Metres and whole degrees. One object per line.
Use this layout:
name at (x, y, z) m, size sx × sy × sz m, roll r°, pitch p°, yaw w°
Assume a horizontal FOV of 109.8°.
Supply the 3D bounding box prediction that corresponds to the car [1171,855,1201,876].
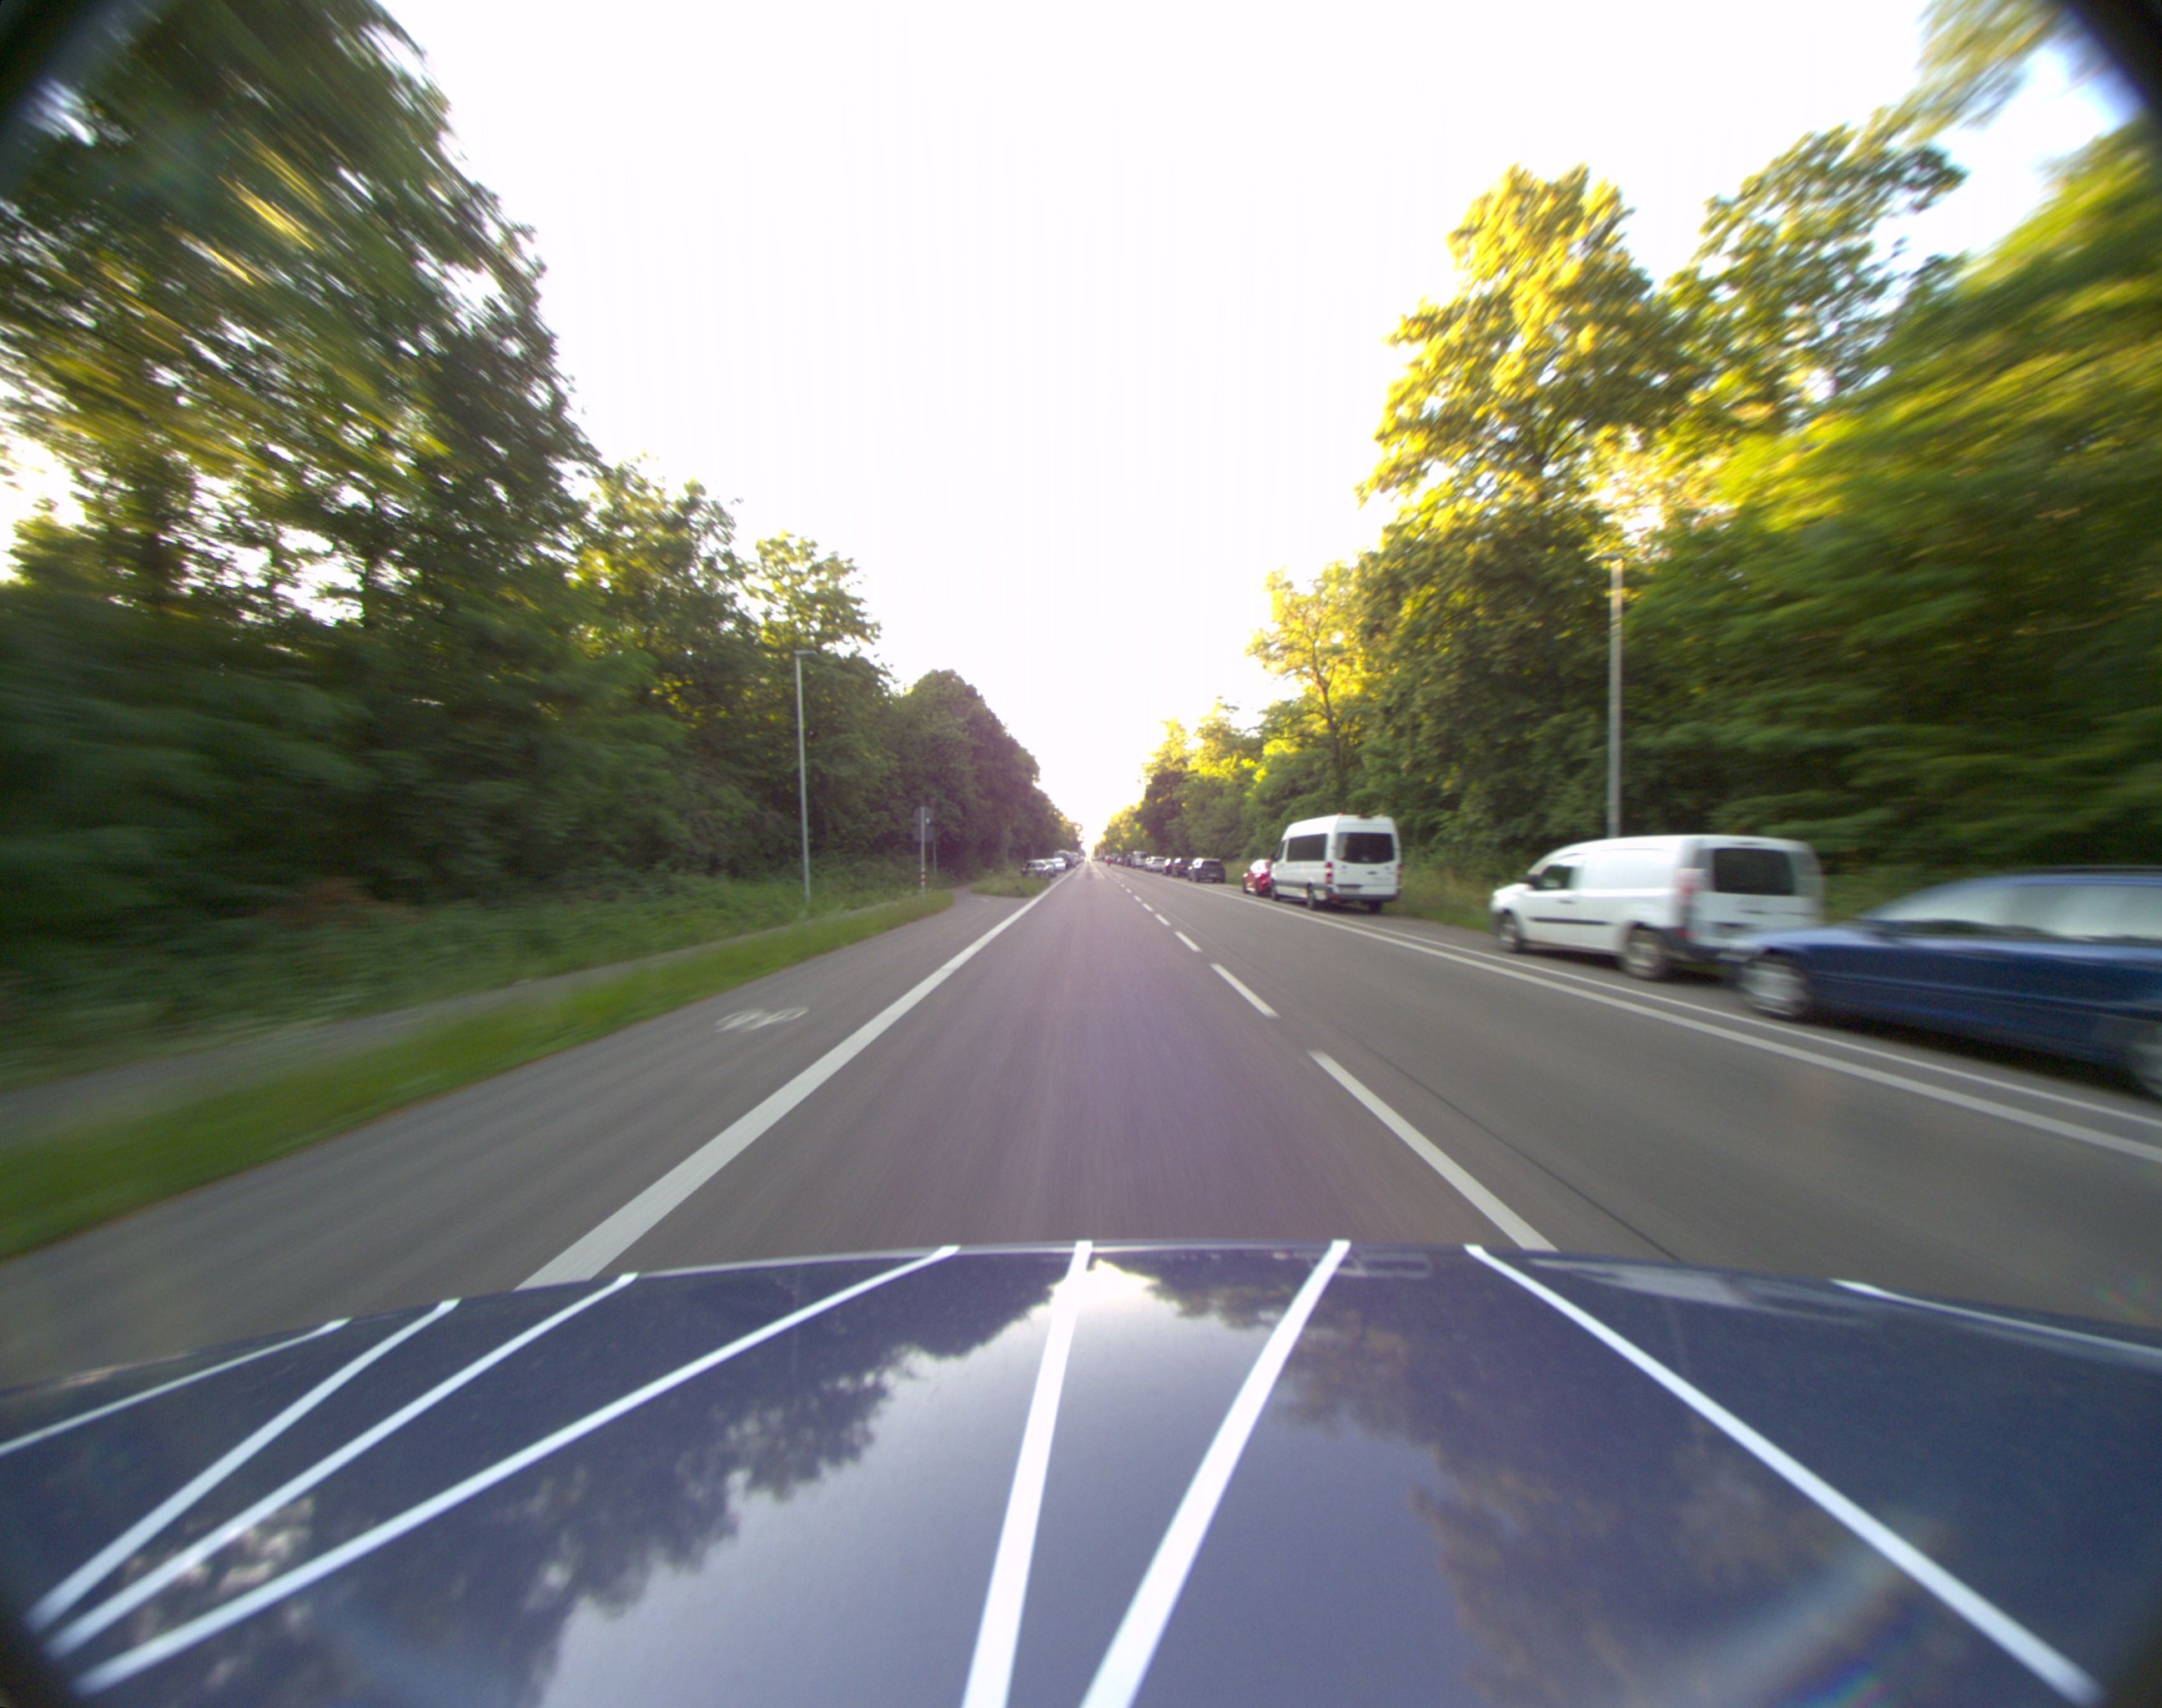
car at (7.778, 0.867, 56.771) m, size 1.716 × 1.500 × 3.657 m, roll 1°, pitch 0°, yaw 0°

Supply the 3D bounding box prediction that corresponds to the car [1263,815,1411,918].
car at (7.427, 0.313, 23.101) m, size 2.084 × 2.591 × 7.088 m, roll 2°, pitch 0°, yaw 1°

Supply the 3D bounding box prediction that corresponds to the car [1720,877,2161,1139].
car at (7.129, 0.952, 5.261) m, size 1.674 × 1.424 × 4.447 m, roll 1°, pitch 0°, yaw 1°

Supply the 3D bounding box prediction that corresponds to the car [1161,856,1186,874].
car at (7.642, 0.902, 62.939) m, size 1.601 × 1.386 × 4.051 m, roll 0°, pitch 0°, yaw 0°

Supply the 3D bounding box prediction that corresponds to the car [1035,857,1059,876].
car at (-2.762, 1.002, 63.035) m, size 1.693 × 1.537 × 4.112 m, roll -1°, pitch 0°, yaw 1°

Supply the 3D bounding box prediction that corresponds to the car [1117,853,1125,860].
car at (8.445, 0.567, 159.987) m, size 1.606 × 1.495 × 3.760 m, roll 2°, pitch 0°, yaw 3°

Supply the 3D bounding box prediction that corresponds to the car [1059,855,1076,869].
car at (-1.544, 0.888, 86.547) m, size 1.848 × 1.485 × 4.759 m, roll -2°, pitch -1°, yaw -2°

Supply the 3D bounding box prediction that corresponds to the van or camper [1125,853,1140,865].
van or camper at (8.583, 0.858, 127.297) m, size 2.034 × 1.945 × 4.691 m, roll 2°, pitch 0°, yaw -2°

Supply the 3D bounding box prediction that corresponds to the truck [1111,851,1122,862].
truck at (9.892, 0.670, 212.041) m, size 2.654 × 3.038 × 5.800 m, roll -2°, pitch 0°, yaw 1°

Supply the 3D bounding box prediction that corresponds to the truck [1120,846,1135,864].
truck at (8.588, 0.200, 140.585) m, size 2.226 × 3.188 × 6.271 m, roll 2°, pitch 0°, yaw -1°

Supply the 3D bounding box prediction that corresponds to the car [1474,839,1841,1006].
car at (7.608, 0.773, 10.722) m, size 1.692 × 1.847 × 4.386 m, roll 1°, pitch 0°, yaw -2°

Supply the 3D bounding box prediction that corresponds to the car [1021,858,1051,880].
car at (-3.100, 0.992, 52.768) m, size 1.715 × 1.436 × 4.122 m, roll -2°, pitch 0°, yaw 1°

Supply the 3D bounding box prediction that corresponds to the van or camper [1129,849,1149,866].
van or camper at (8.191, 0.498, 107.605) m, size 2.116 × 2.376 × 6.381 m, roll 2°, pitch 0°, yaw -1°

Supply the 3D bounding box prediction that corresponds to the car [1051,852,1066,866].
car at (-2.893, 0.628, 97.873) m, size 1.856 × 1.754 × 4.724 m, roll -3°, pitch 0°, yaw -2°

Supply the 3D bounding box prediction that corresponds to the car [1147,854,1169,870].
car at (8.079, 0.828, 80.091) m, size 1.699 × 1.636 × 4.572 m, roll 1°, pitch 0°, yaw -1°

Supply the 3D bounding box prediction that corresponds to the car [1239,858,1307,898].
car at (7.430, 0.891, 29.797) m, size 1.720 × 1.422 × 4.388 m, roll 0°, pitch 0°, yaw 2°

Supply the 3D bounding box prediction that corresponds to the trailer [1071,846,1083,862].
trailer at (-0.664, 0.040, 127.492) m, size 1.866 × 2.633 × 4.269 m, roll -2°, pitch 0°, yaw 0°

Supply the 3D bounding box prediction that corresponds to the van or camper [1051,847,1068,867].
van or camper at (-2.976, 0.488, 106.387) m, size 2.132 × 2.525 × 6.062 m, roll -2°, pitch -2°, yaw 0°

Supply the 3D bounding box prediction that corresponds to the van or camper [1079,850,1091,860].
van or camper at (1.152, 0.163, 211.821) m, size 3.015 × 2.704 × 6.960 m, roll -1°, pitch 0°, yaw 1°

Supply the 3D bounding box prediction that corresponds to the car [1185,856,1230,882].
car at (7.674, 0.895, 46.451) m, size 1.850 × 1.454 × 4.229 m, roll 1°, pitch 0°, yaw -2°
